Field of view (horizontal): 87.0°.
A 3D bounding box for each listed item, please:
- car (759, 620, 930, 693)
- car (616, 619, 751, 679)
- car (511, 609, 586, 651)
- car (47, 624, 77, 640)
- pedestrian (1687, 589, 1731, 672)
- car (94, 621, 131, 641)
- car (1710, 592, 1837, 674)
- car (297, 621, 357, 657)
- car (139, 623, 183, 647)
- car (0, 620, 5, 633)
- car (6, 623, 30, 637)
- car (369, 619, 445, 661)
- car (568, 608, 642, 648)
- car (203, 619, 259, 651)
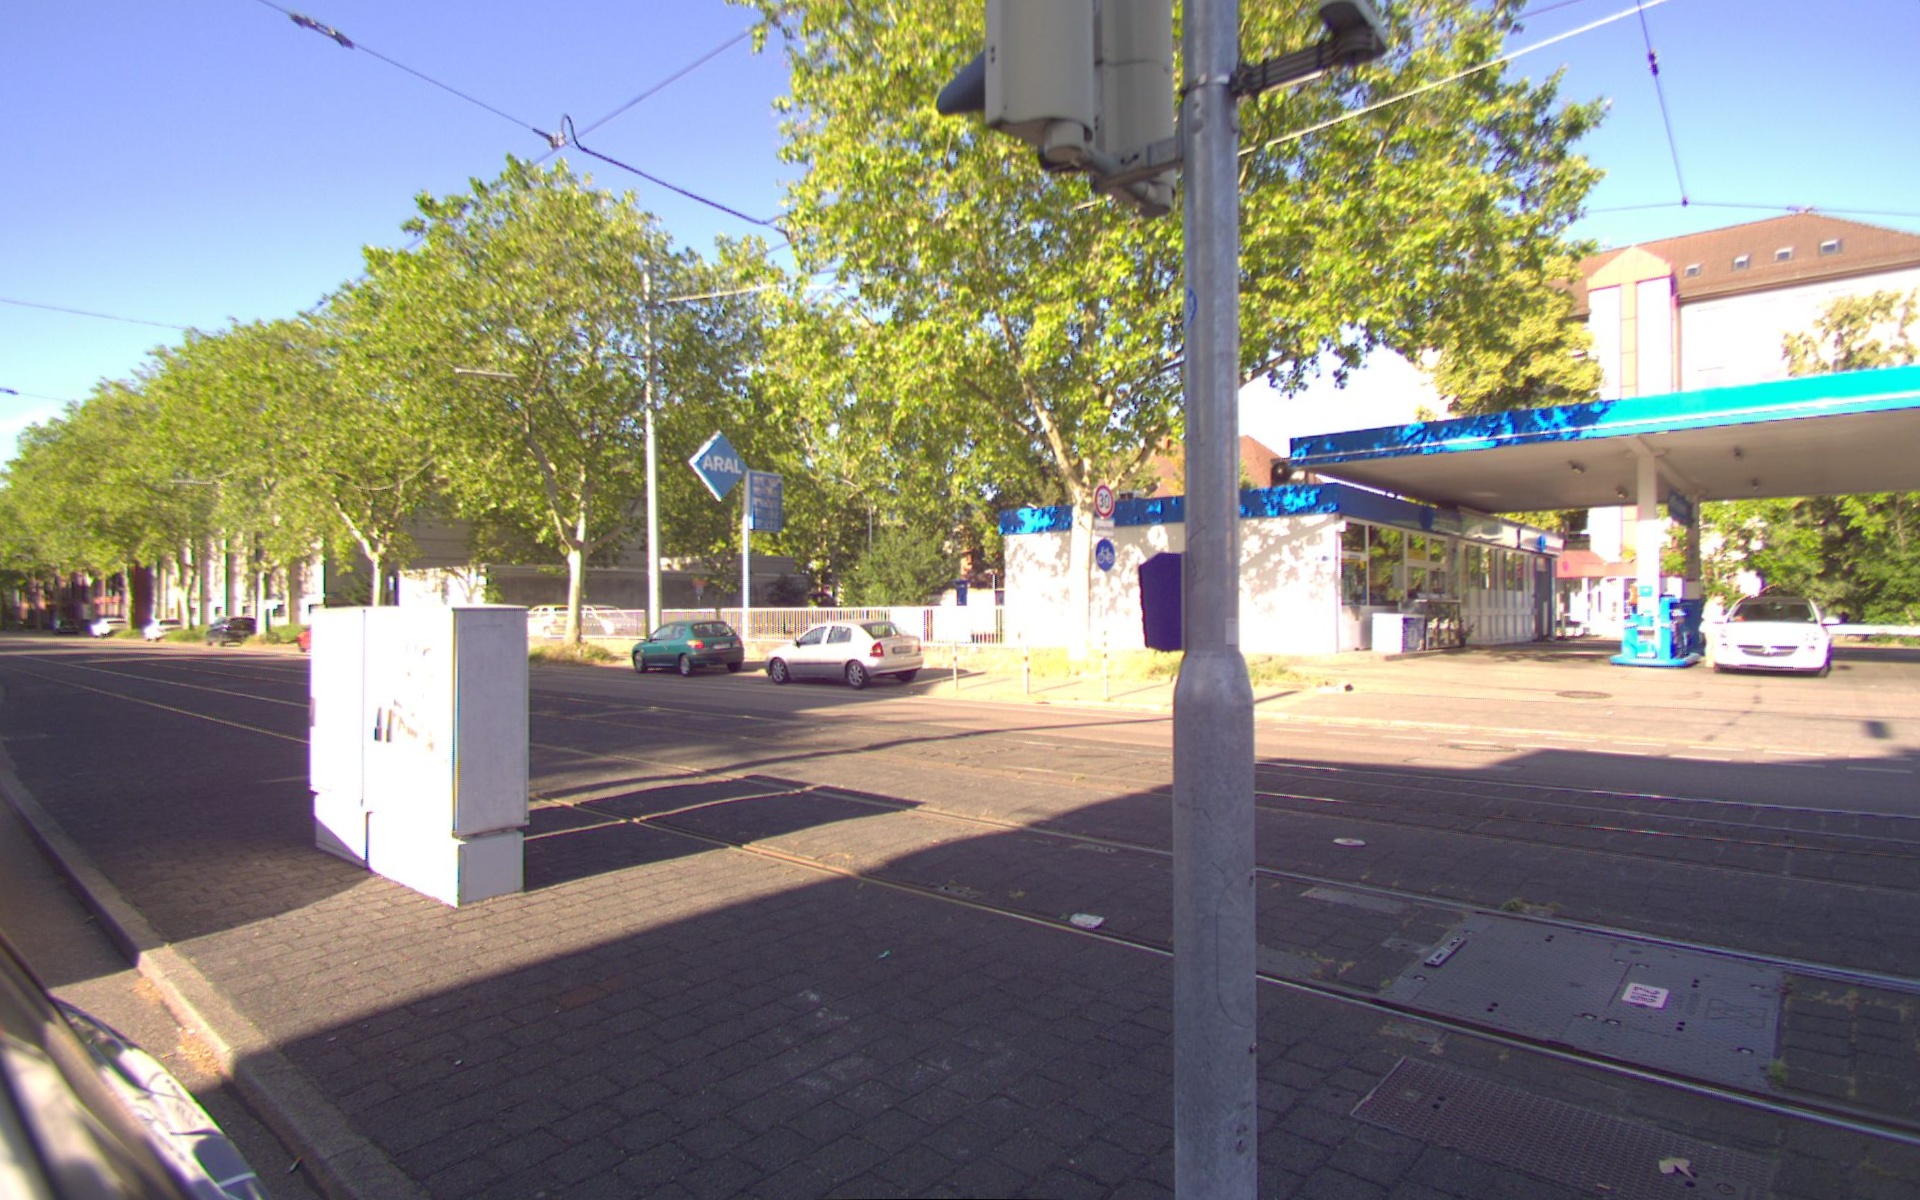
[{"bbox_3d":[-2.638,1.204,22.640,3.812,1.413,1.674,-1,1,41],"label":"car"},{"bbox_3d":[-7.402,1.265,26.968,3.748,1.413,1.674,-1,1,41],"label":"car"},{"bbox_3d":[-17.086,1.230,41.968,3.303,1.628,1.579,-1,0,41],"label":"car"},{"bbox_3d":[-85.240,3.031,96.042,3.748,1.459,1.674,-1,1,41],"label":"car"},{"bbox_3d":[15.933,0.644,21.528,0.493,1.714,0.649,1,-2,-45],"label":"pedestrian"},{"bbox_3d":[-66.679,2.447,79.604,3.748,1.459,1.674,-1,1,41],"label":"car"},{"bbox_3d":[15.884,0.609,19.693,1.757,1.453,3.521,-1,-1,41],"label":"car"},{"bbox_3d":[-28.688,1.755,45.827,2.621,1.519,1.579,-1,1,41],"label":"car"},{"bbox_3d":[-53.862,2.343,68.176,3.748,1.459,1.674,-1,1,41],"label":"car"},{"bbox_3d":[-133.931,3.680,140.470,3.748,1.798,1.674,-1,1,41],"label":"car"},{"bbox_3d":[-112.139,3.565,120.503,3.748,1.459,1.674,-1,1,41],"label":"car"},{"bbox_3d":[-21.878,1.557,40.000,3.303,1.519,1.579,-1,1,41],"label":"car"},{"bbox_3d":[-15.267,1.195,43.445,3.303,1.604,1.579,-1,0,41],"label":"car"},{"bbox_3d":[-40.677,1.940,56.451,3.748,1.670,1.674,-1,1,41],"label":"car"}]
